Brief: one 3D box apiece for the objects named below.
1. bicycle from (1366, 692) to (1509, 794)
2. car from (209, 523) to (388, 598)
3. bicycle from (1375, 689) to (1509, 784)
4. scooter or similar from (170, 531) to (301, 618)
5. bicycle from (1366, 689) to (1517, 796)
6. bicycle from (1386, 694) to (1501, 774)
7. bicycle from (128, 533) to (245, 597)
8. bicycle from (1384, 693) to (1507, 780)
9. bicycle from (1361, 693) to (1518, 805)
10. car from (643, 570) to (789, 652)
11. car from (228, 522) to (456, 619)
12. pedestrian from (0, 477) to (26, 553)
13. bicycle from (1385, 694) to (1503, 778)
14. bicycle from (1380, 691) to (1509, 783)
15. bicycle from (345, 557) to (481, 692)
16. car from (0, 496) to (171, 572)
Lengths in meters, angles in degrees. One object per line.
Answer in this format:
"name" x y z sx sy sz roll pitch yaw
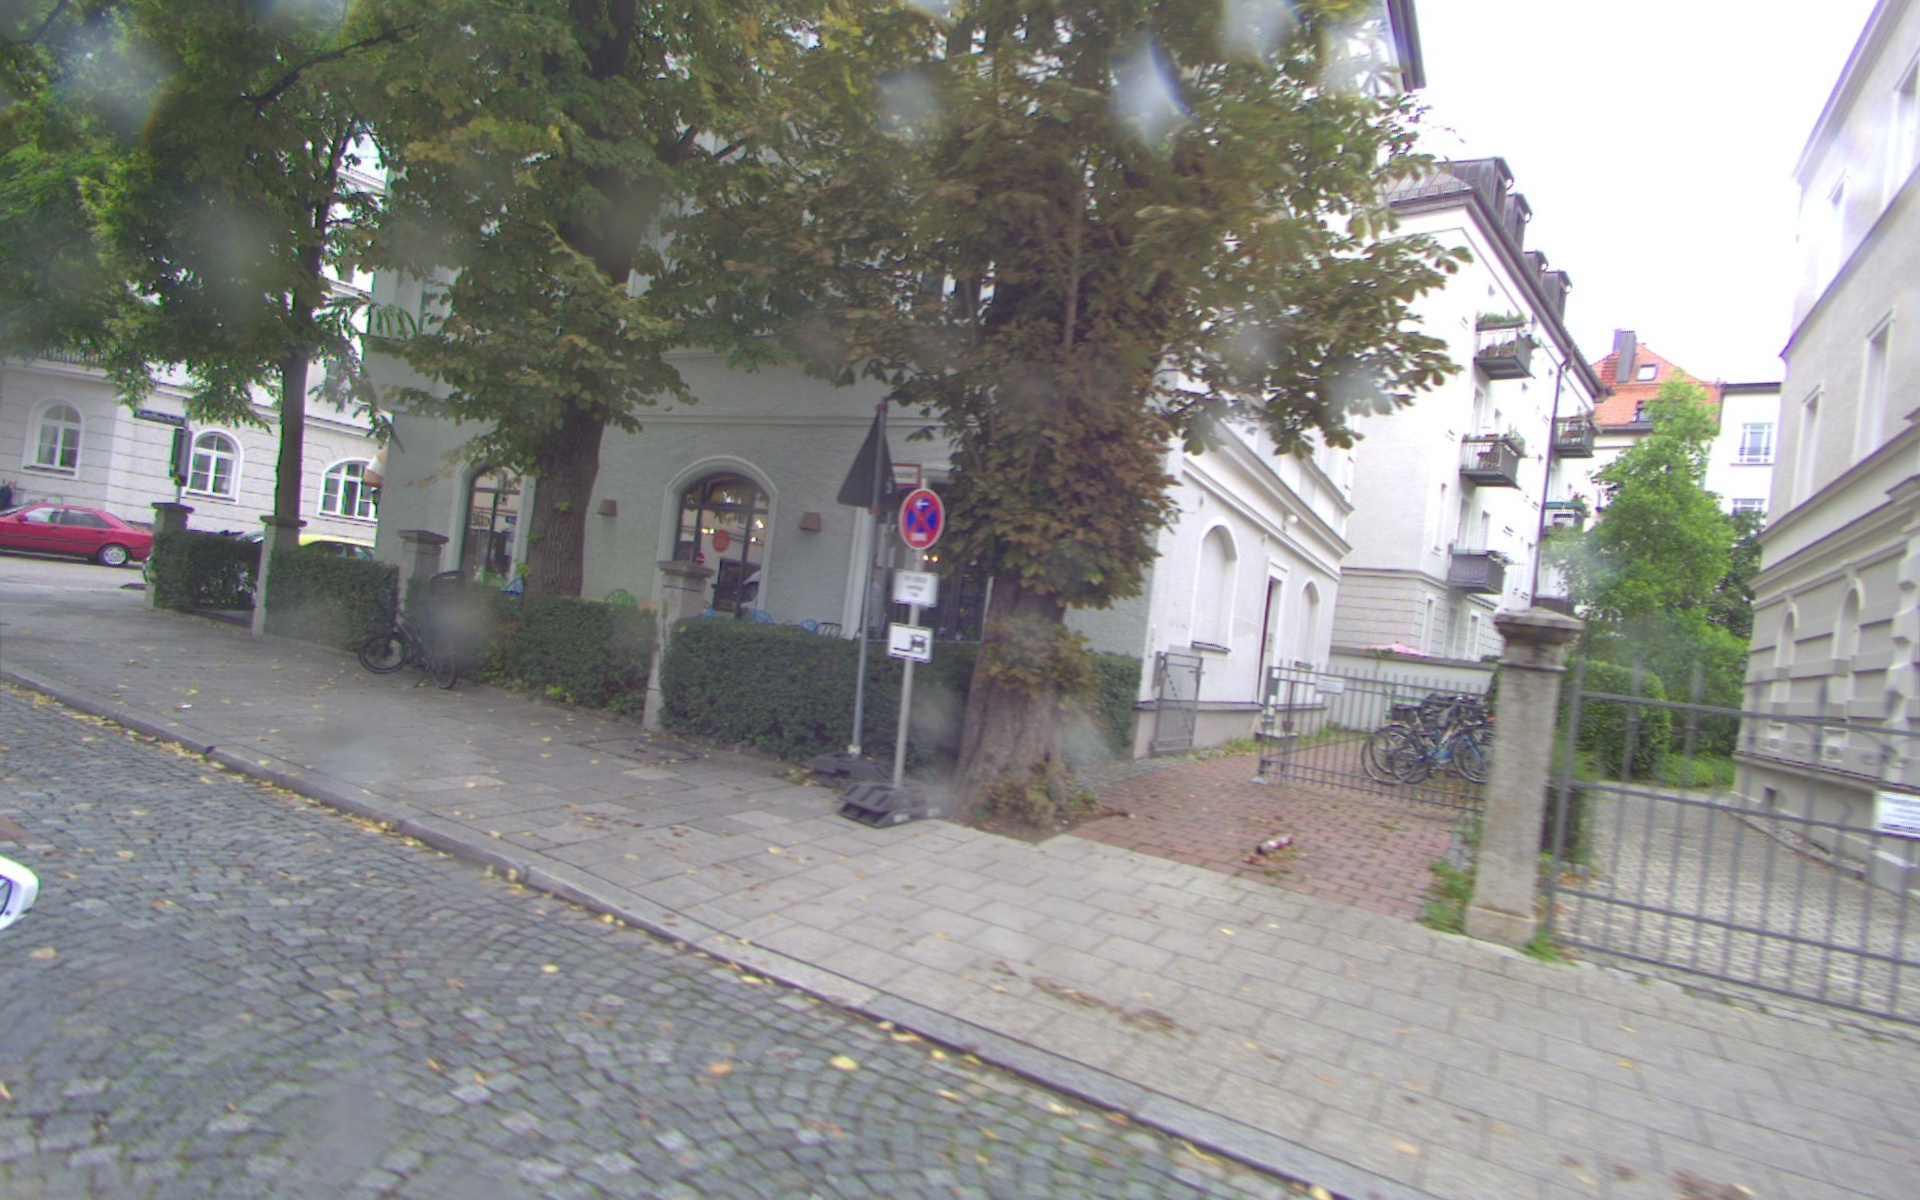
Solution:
"bicycle" 6.569 1.946 13.893 1.644 1.114 0.421 7 -1 26
"car" -18.926 -1.102 28.924 1.541 1.539 3.889 7 -2 35
"bicycle" 7.037 1.972 14.745 1.644 1.114 0.421 7 -1 26
"scooter or similar" -11.624 -0.397 16.179 1.594 1.186 0.401 7 -1 -37
"bicycle" 6.275 1.843 13.170 1.644 1.114 0.421 7 -1 26
"bicycle" 8.305 2.288 17.327 1.644 1.114 0.421 7 -1 26
"bicycle" -14.952 -0.661 19.491 0.727 1.082 1.602 3 -2 33
"bicycle" 7.709 2.148 16.030 1.644 1.114 0.421 7 -1 26
"bicycle" 5.965 1.835 12.577 1.644 1.114 0.421 7 -1 26
"car" -7.501 0.364 31.187 1.750 1.992 3.916 6 -2 41
"car" -14.359 -0.658 23.533 1.879 1.616 4.071 6 -2 41
"pedestrian" -24.979 -2.229 26.246 0.729 1.898 0.495 7 -1 26
"bicycle" 8.024 2.238 16.720 1.644 1.114 0.421 7 -1 26
"bicycle" 7.376 2.068 15.360 1.644 1.114 0.421 7 -1 26
"bicycle" -5.784 0.228 10.602 1.702 1.215 0.427 7 4 31
"car" -22.422 -1.698 24.664 1.734 1.374 4.468 7 -1 38
